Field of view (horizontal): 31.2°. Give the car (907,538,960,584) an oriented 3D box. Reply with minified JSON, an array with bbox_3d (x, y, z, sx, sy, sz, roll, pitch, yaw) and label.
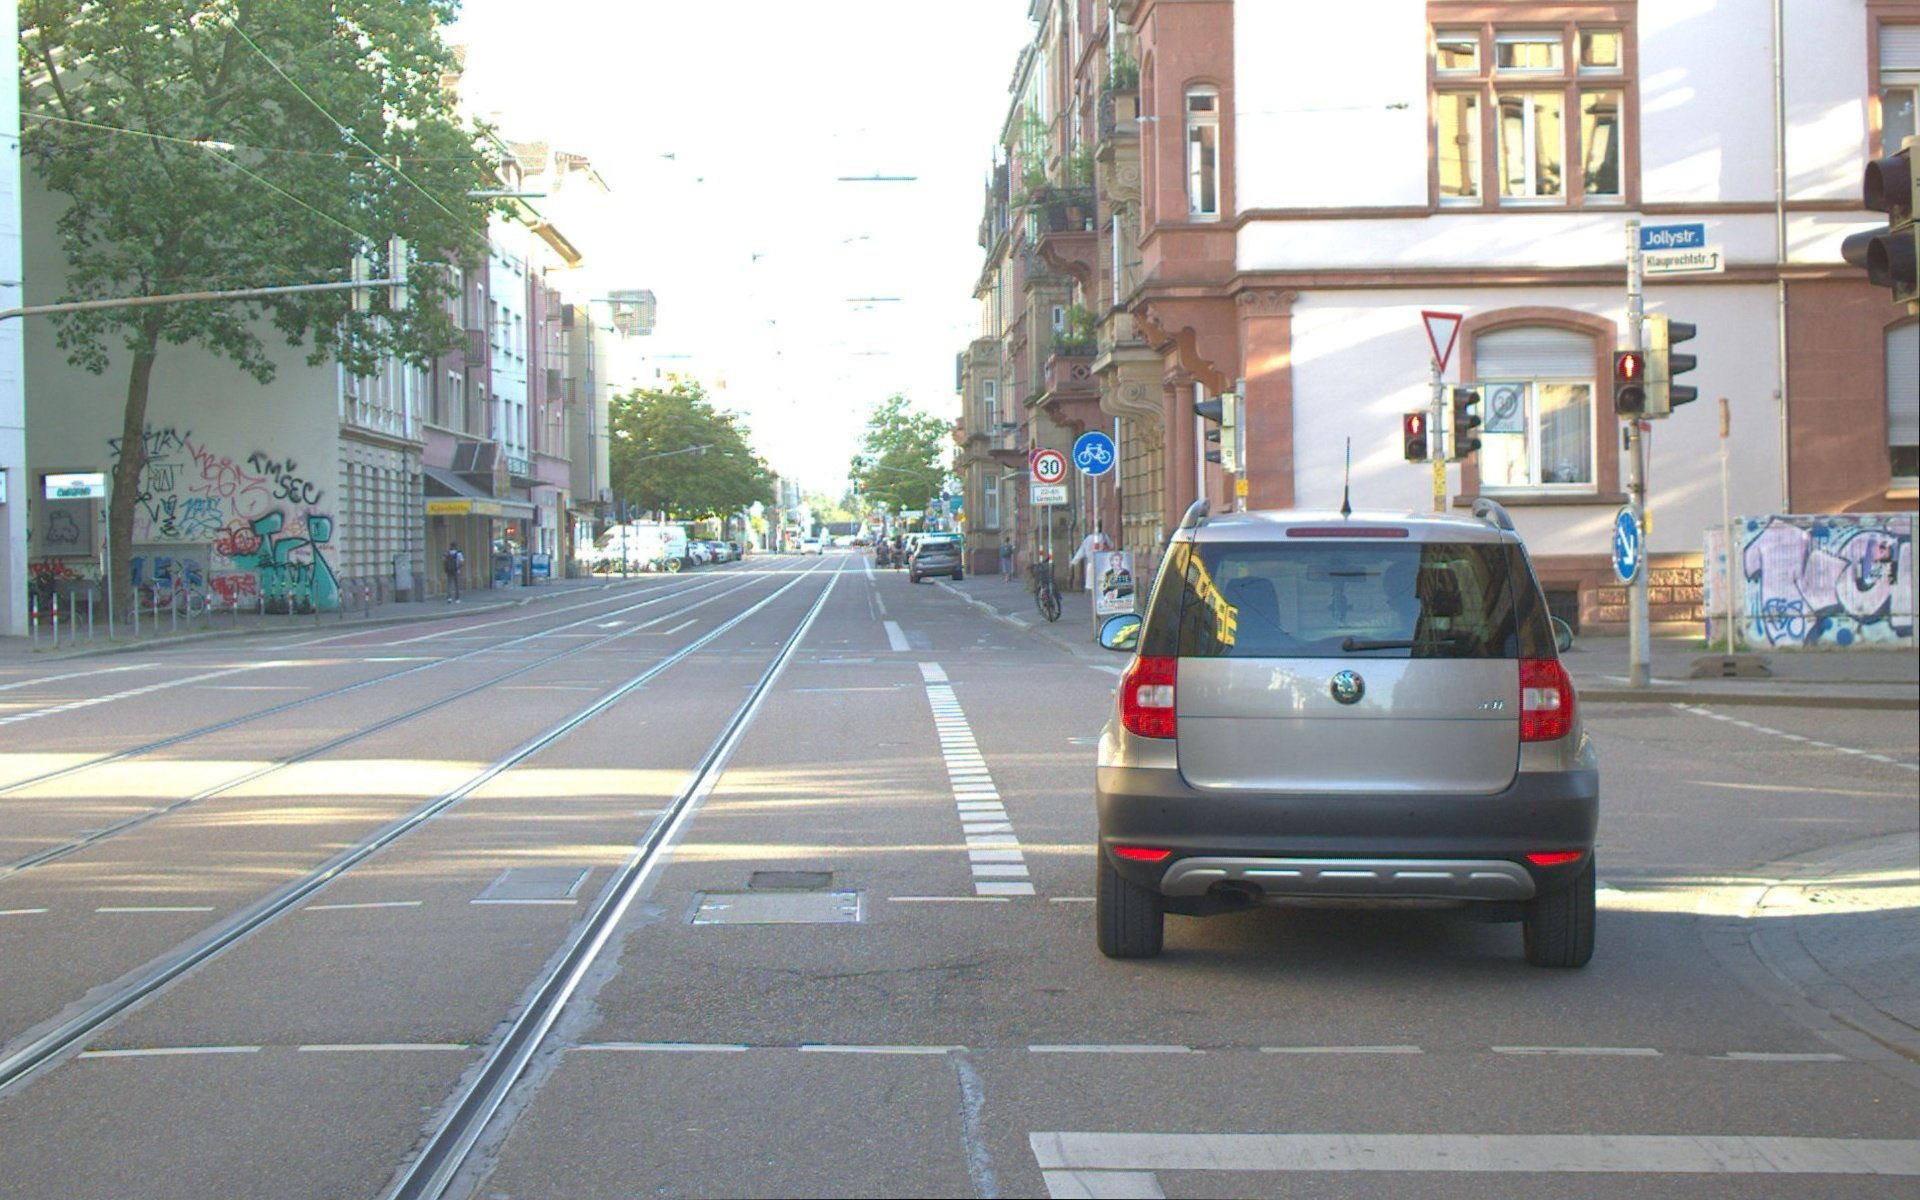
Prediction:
[{"bbox_3d":[-0.977,-1.462,128.706,1.950,1.678,4.000,0,1,0],"label":"car"}]

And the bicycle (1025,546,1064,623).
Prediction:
[{"bbox_3d":[1.456,-0.279,59.385,0.653,1.319,2.176,0,1,1],"label":"bicycle"}]

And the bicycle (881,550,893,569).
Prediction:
[{"bbox_3d":[-4.008,-2.236,188.791,0.575,1.026,1.895,0,1,0],"label":"bicycle"}]

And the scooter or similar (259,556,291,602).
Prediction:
[{"bbox_3d":[-15.855,-0.487,79.587,0.516,1.042,1.478,0,1,-3],"label":"scooter or similar"}]

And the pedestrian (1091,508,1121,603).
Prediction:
[{"bbox_3d":[2.741,-0.830,64.496,0.544,1.774,0.504,0,1,-1],"label":"pedestrian"}]

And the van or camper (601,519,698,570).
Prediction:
[{"bbox_3d":[-16.114,-2.863,178.561,4.635,2.554,2.000,0,0,-32],"label":"van or camper"}]

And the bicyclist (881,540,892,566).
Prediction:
[{"bbox_3d":[-4.016,-2.591,188.793,0.575,1.447,0.645,0,1,0],"label":"bicyclist"}]

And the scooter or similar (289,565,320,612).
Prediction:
[{"bbox_3d":[-15.185,-0.270,79.639,0.516,1.053,1.478,0,1,-3],"label":"scooter or similar"}]

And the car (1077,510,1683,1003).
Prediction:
[{"bbox_3d":[1.512,0.492,13.542,1.994,1.612,4.000,1,1,3],"label":"car"}]

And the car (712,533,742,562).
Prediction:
[{"bbox_3d":[-16.265,-3.645,239.984,1.993,2.007,4.000,0,1,-2],"label":"car"}]

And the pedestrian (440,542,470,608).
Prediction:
[{"bbox_3d":[-13.363,-0.660,90.984,0.701,1.722,0.648,0,1,-1],"label":"pedestrian"}]

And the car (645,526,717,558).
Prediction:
[{"bbox_3d":[-17.393,-3.609,214.145,3.986,2.007,2.000,-1,1,-26],"label":"car"}]

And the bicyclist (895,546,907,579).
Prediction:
[{"bbox_3d":[-2.712,-1.730,158.083,0.575,1.548,0.595,0,1,0],"label":"bicyclist"}]

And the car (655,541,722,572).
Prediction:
[{"bbox_3d":[-17.968,-2.884,227.672,3.986,2.007,2.000,-1,1,-26],"label":"car"}]
